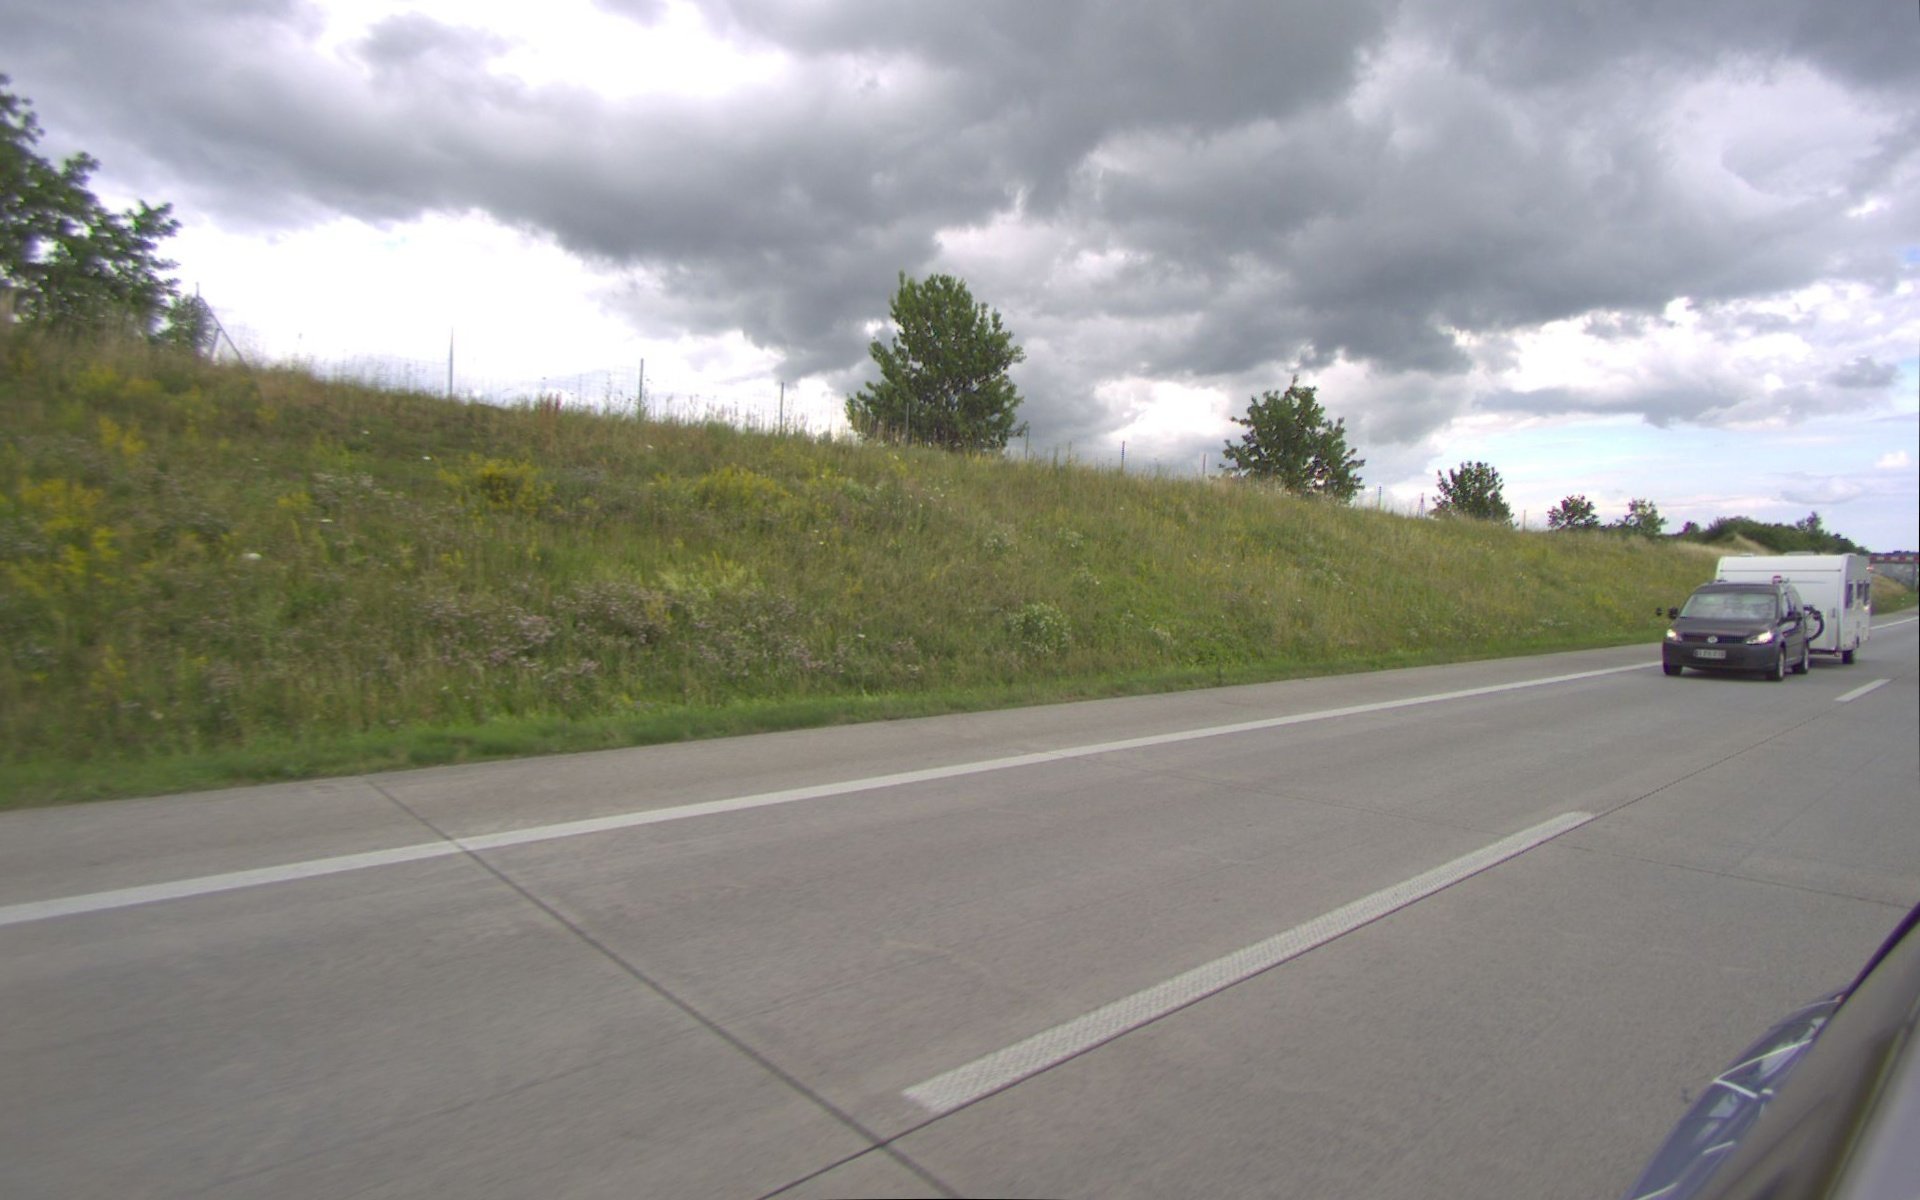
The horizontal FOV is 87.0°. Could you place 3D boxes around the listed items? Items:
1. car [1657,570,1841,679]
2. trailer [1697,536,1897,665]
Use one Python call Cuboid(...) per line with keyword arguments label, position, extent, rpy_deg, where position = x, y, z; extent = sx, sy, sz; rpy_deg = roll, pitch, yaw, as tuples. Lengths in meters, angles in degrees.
Cuboid(label="car", position=(15.221, 0.357, 19.421), extent=(4.945, 1.832, 1.942), rpy_deg=(-1, 1, -42))
Cuboid(label="trailer", position=(19.471, -0.057, 23.390), extent=(6.606, 2.566, 2.612), rpy_deg=(-1, 1, -42))
